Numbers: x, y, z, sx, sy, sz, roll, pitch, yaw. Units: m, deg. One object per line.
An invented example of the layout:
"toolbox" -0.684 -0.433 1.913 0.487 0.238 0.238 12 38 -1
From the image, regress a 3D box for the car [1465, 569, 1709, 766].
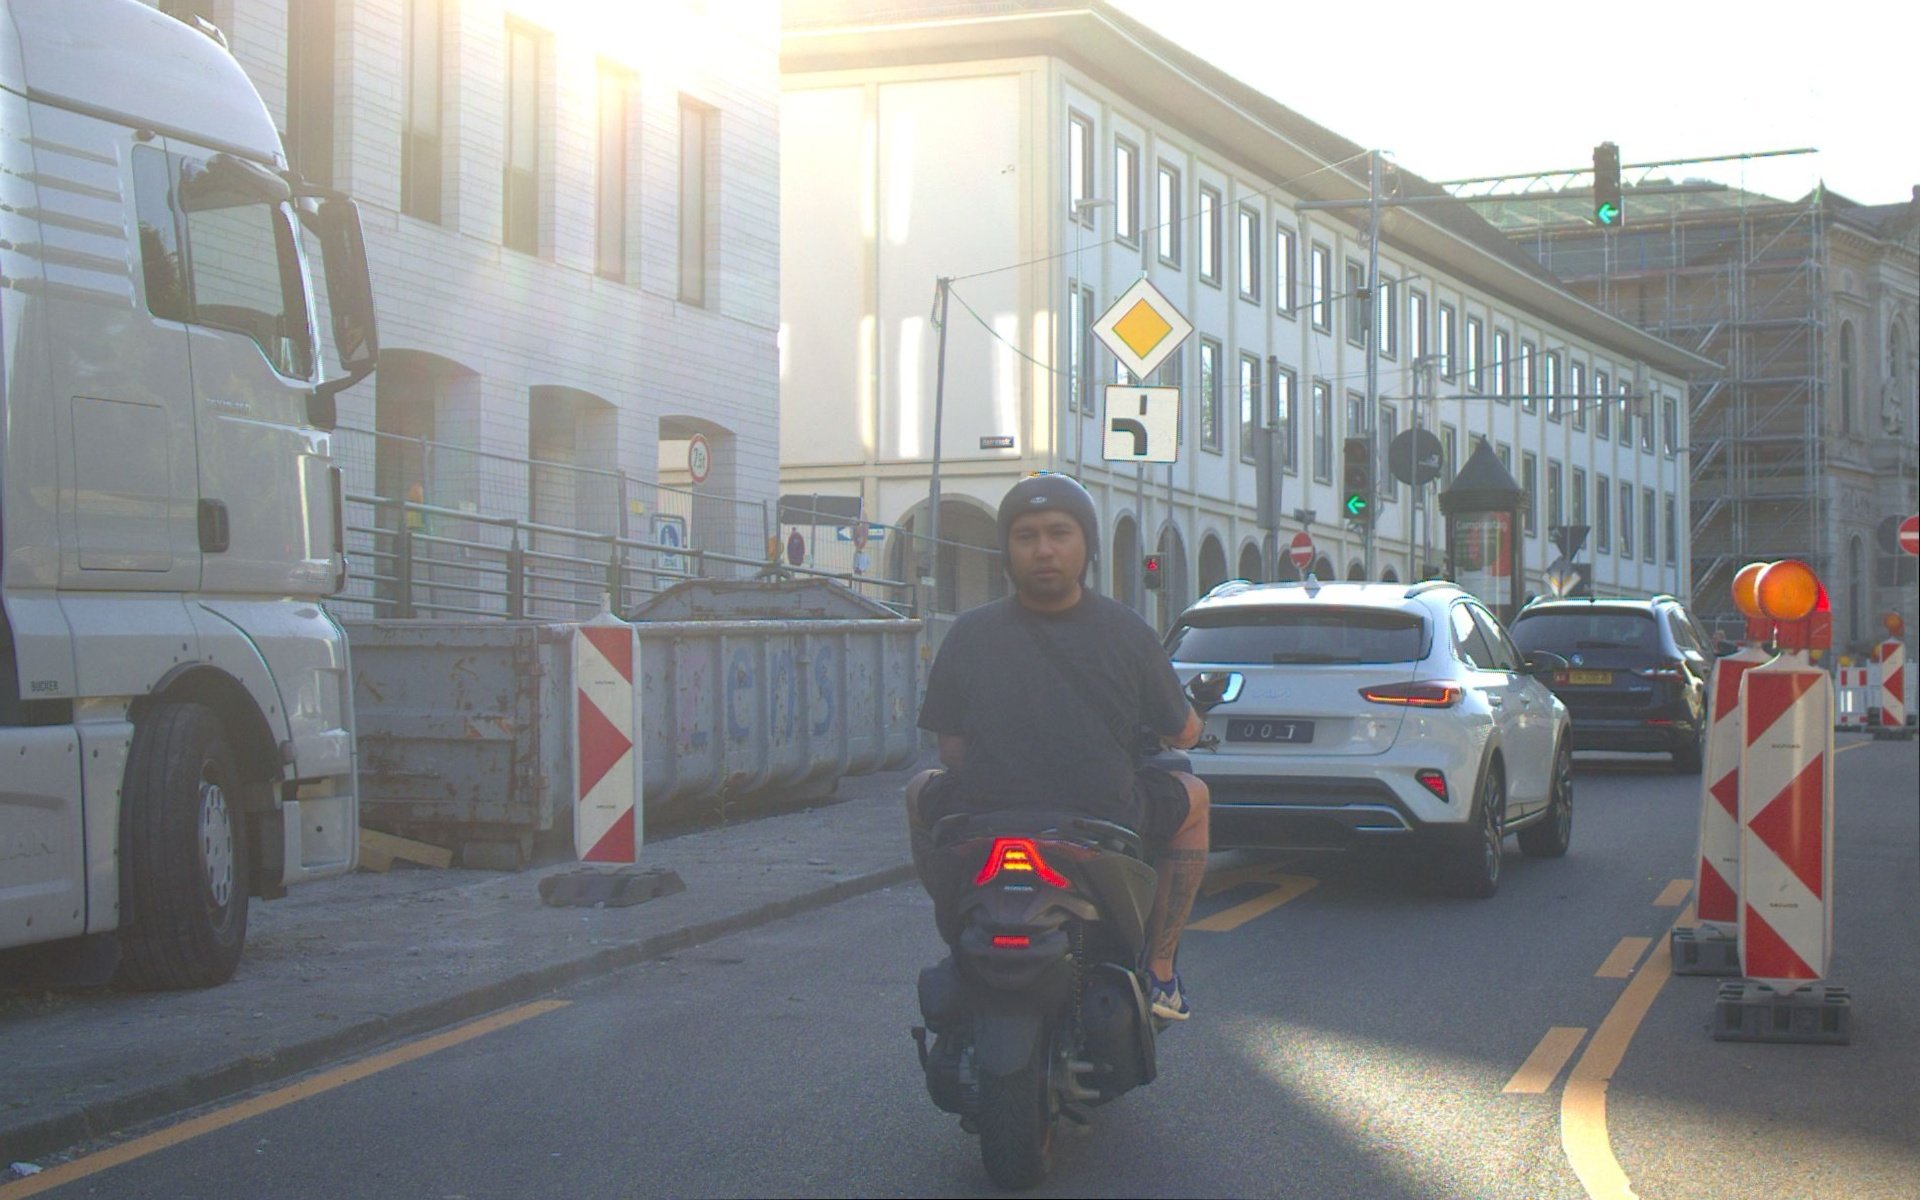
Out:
"car" 5.394 0.591 29.239 1.775 1.545 4.103 -1 -2 14

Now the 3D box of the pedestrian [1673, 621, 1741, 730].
"pedestrian" 11.808 1.189 54.356 0.966 1.704 0.675 0 1 20

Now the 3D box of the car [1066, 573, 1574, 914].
"car" 1.937 0.615 17.325 1.860 1.467 3.997 1 1 16

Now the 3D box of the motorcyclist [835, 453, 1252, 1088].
"motorcyclist" 0.253 0.415 9.103 0.954 1.554 1.238 0 0 9

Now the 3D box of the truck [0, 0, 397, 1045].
"truck" -4.226 -0.328 10.458 2.581 3.478 5.811 -4 -1 15

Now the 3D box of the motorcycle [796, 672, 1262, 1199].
"motorcycle" 0.264 0.814 9.114 0.906 1.179 2.578 0 0 9

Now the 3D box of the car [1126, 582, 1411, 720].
"car" 4.018 0.631 45.399 1.803 1.715 4.163 0 1 -27
